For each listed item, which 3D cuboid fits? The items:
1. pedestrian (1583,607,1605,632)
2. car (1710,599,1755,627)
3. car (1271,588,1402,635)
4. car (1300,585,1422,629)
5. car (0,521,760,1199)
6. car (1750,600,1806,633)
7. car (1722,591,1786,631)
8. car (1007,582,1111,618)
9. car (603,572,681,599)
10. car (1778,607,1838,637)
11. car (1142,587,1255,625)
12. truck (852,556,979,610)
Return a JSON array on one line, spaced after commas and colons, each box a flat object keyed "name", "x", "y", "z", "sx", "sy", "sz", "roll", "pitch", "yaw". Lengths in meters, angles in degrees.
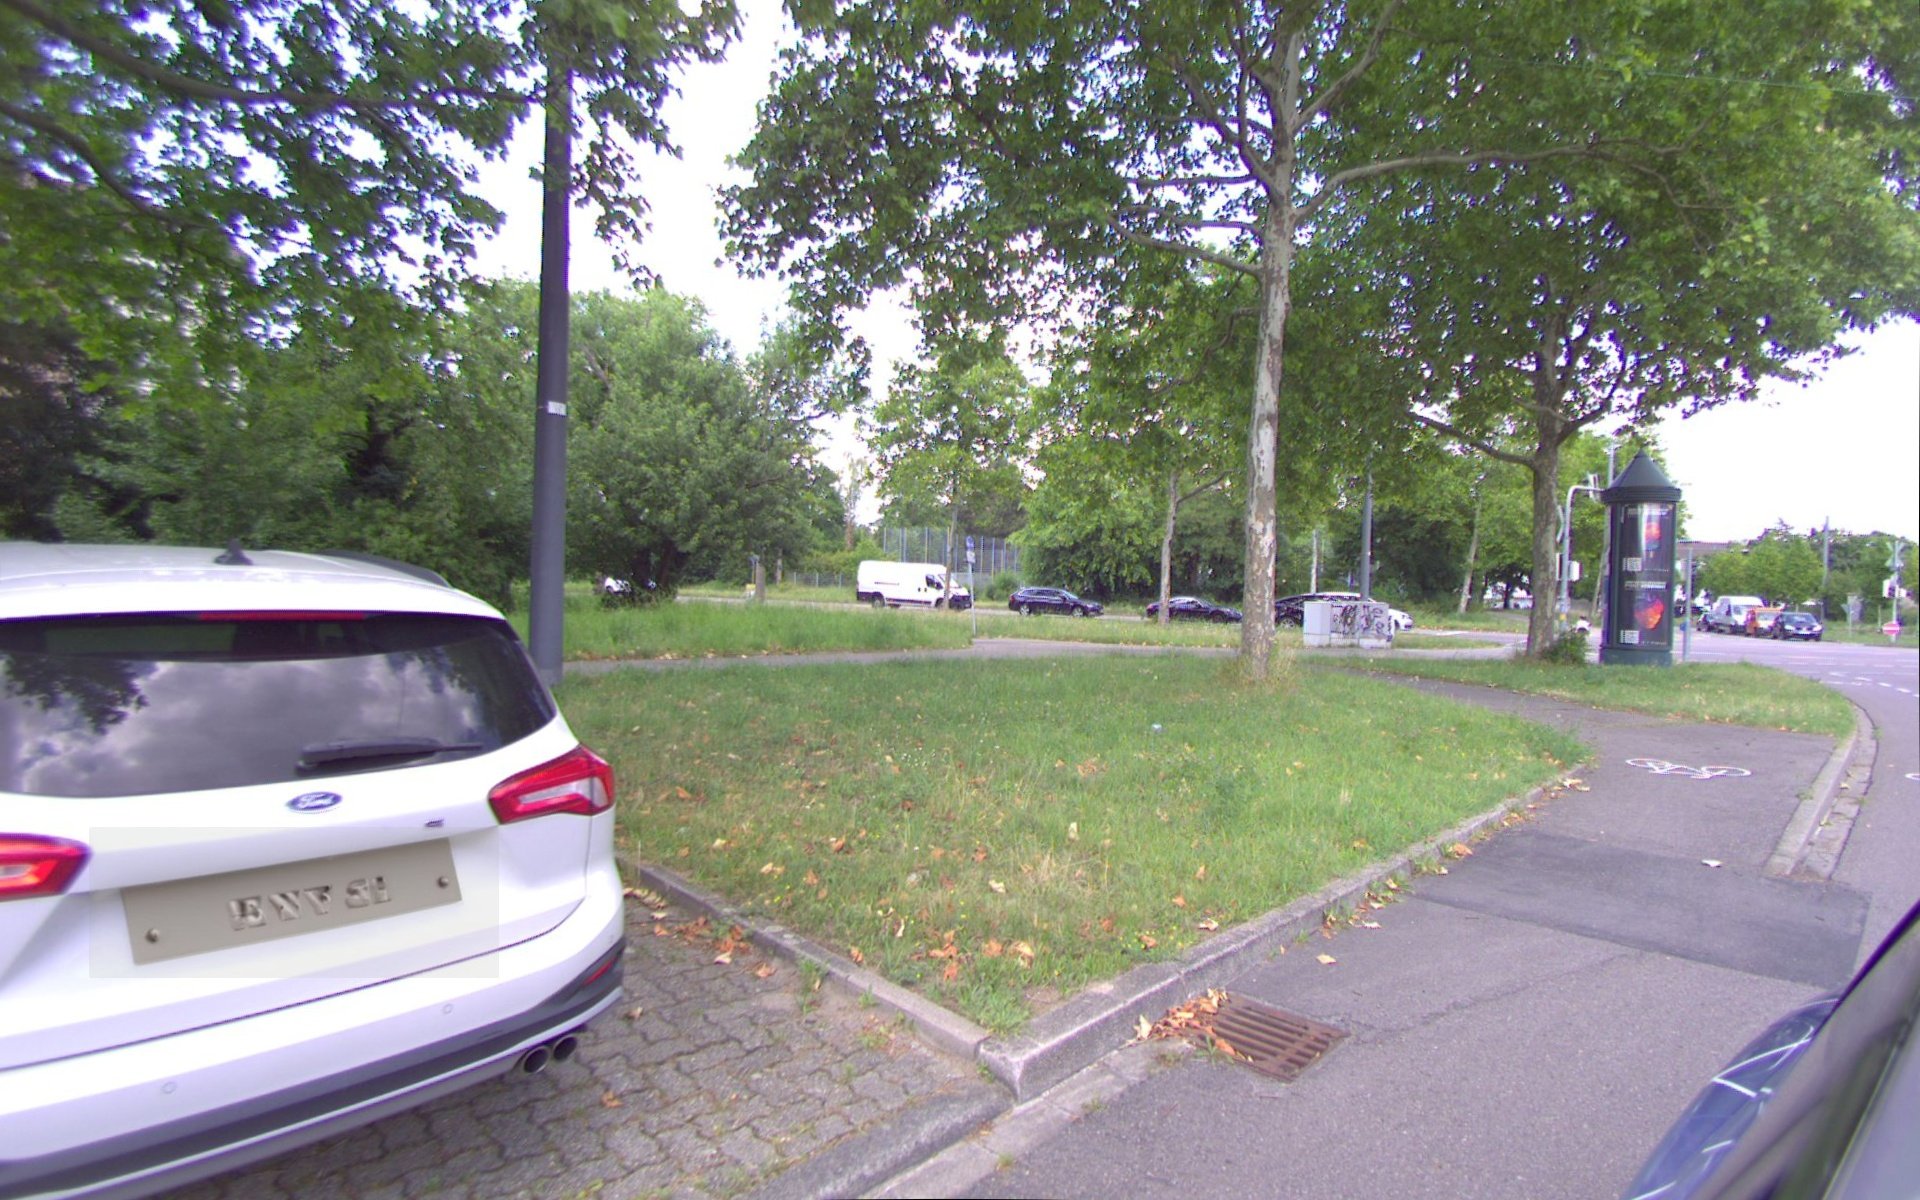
[{"name": "pedestrian", "x": 28.446, "y": 0.860, "z": 45.431, "sx": 0.716, "sy": 1.047, "sz": 0.893, "roll": 2, "pitch": 1, "yaw": 27}, {"name": "car", "x": 55.957, "y": 0.904, "z": 73.395, "sx": 1.779, "sy": 1.959, "sz": 4.328, "roll": 1, "pitch": 1, "yaw": 26}, {"name": "car", "x": 14.880, "y": 0.408, "z": 39.995, "sx": 4.642, "sy": 1.630, "sz": 1.981, "roll": 2, "pitch": 2, "yaw": 27}, {"name": "car", "x": 17.058, "y": 0.266, "z": 43.078, "sx": 4.641, "sy": 1.630, "sz": 1.982, "roll": 2, "pitch": 2, "yaw": 27}, {"name": "car", "x": -2.848, "y": 0.508, "z": 3.574, "sx": 4.659, "sy": 1.492, "sz": 1.819, "roll": 4, "pitch": 2, "yaw": 43}, {"name": "car", "x": 50.493, "y": 0.982, "z": 62.525, "sx": 1.779, "sy": 1.959, "sz": 4.327, "roll": 1, "pitch": 1, "yaw": 27}, {"name": "car", "x": 53.478, "y": 0.688, "z": 68.283, "sx": 2.218, "sy": 2.538, "sz": 5.674, "roll": 1, "pitch": 1, "yaw": 26}, {"name": "car", "x": 4.825, "y": -0.035, "z": 49.344, "sx": 4.641, "sy": 1.532, "sz": 1.982, "roll": 2, "pitch": 2, "yaw": 27}, {"name": "car", "x": -20.193, "y": -0.956, "z": 64.282, "sx": 4.641, "sy": 1.532, "sz": 1.982, "roll": 2, "pitch": 2, "yaw": 27}, {"name": "car", "x": 47.799, "y": 1.214, "z": 57.112, "sx": 1.780, "sy": 1.558, "sz": 3.961, "roll": 1, "pitch": 1, "yaw": 28}, {"name": "car", "x": 10.814, "y": 0.229, "z": 45.922, "sx": 4.703, "sy": 1.487, "sz": 1.982, "roll": 2, "pitch": 2, "yaw": 27}, {"name": "truck", "x": -2.360, "y": -0.915, "z": 53.303, "sx": 6.448, "sy": 2.628, "sz": 2.195, "roll": 2, "pitch": 1, "yaw": 28}]
